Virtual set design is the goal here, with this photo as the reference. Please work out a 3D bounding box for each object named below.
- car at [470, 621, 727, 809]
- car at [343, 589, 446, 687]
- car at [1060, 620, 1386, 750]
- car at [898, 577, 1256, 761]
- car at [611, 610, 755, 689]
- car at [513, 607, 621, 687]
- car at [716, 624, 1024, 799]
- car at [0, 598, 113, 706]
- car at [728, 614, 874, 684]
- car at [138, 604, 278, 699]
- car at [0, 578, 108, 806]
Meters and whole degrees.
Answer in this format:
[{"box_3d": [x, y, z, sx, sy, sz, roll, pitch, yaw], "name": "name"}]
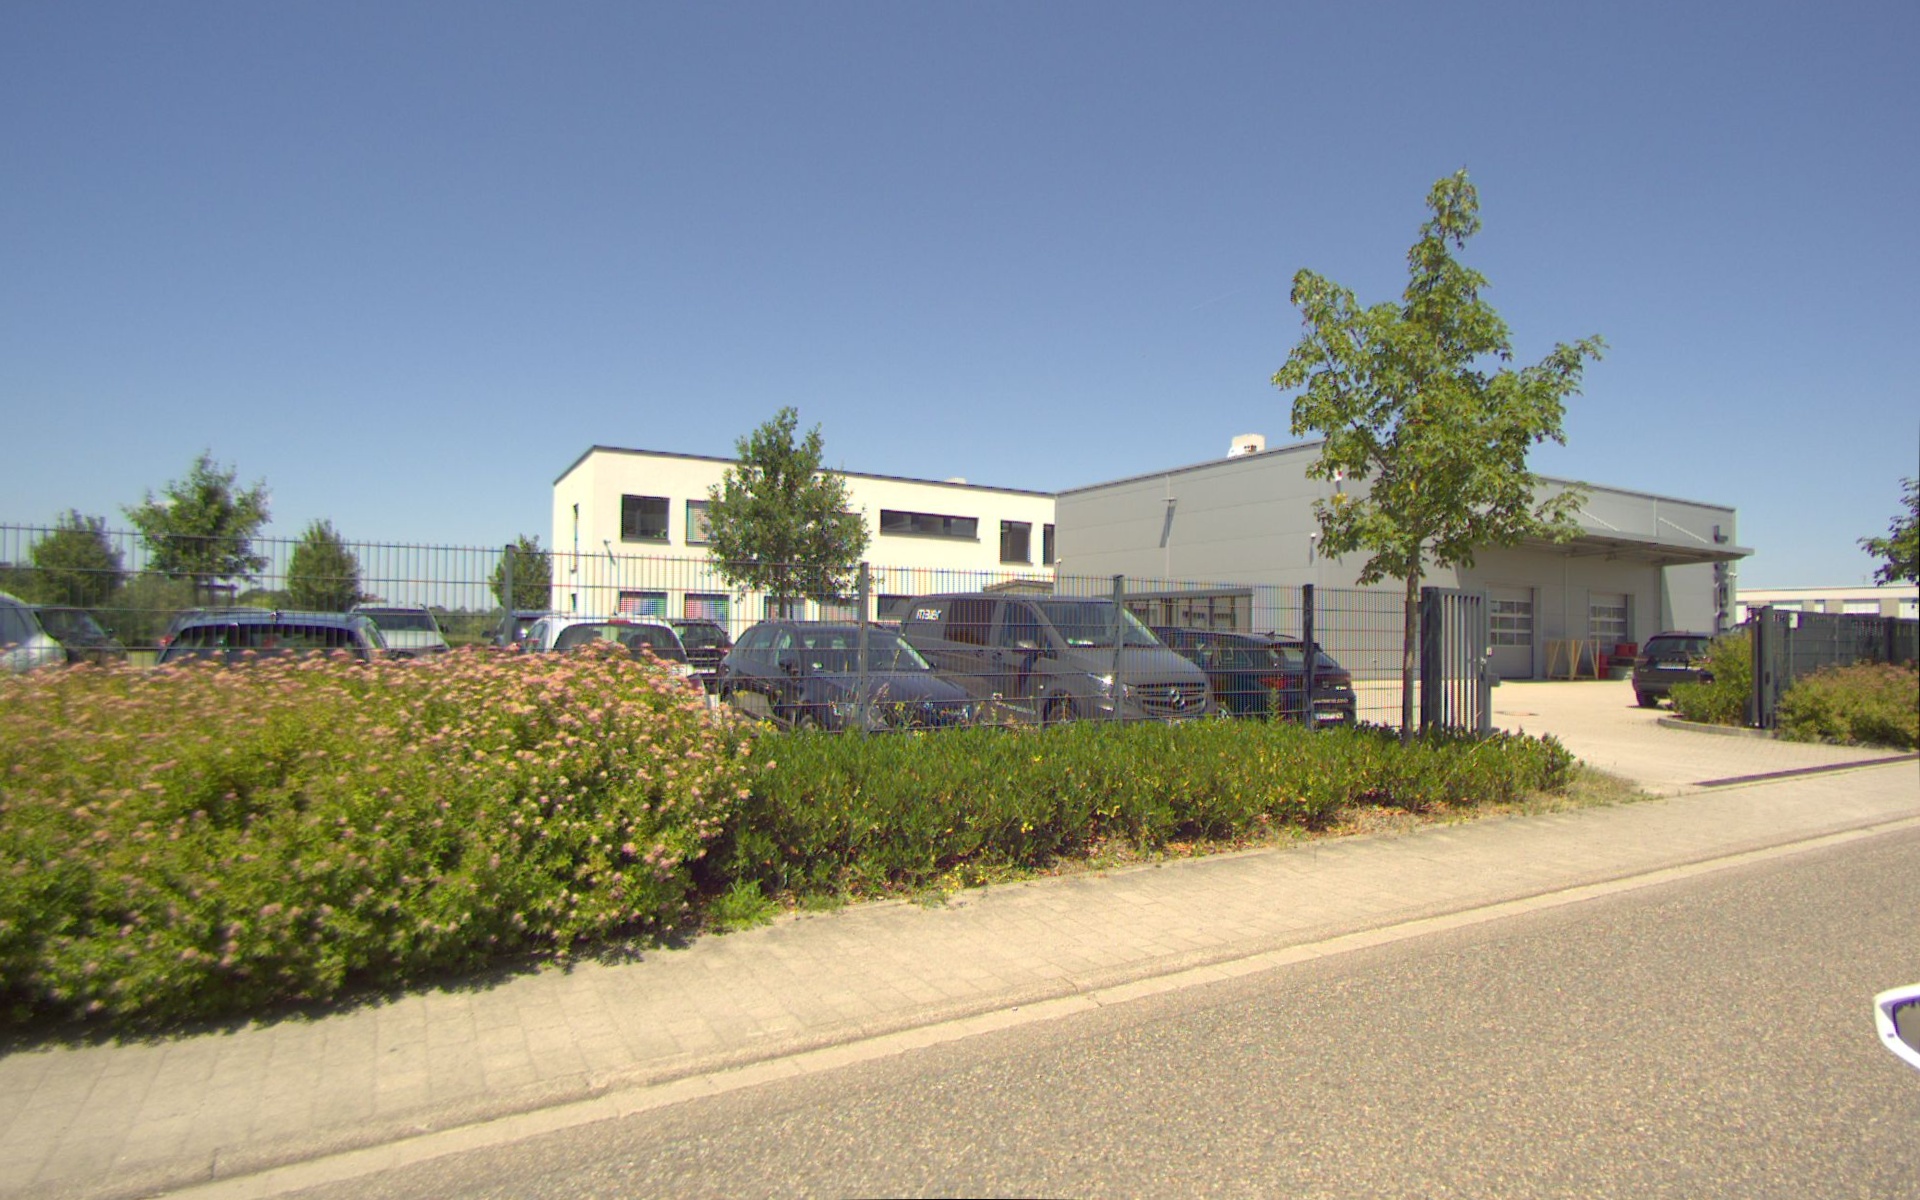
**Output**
[{"box_3d": [-3.796, 1.001, 10.207, 1.882, 1.518, 3.354, 2, -1, -30], "name": "car"}, {"box_3d": [-10.275, 0.662, 18.269, 1.460, 1.605, 3.455, 2, -1, -30], "name": "car"}, {"box_3d": [3.431, 1.047, 13.937, 1.941, 1.465, 4.284, 2, -1, -30], "name": "car"}, {"box_3d": [1.206, 0.752, 12.904, 1.941, 1.875, 5.035, 2, -1, -30], "name": "car"}, {"box_3d": [-5.741, 0.947, 20.505, 1.859, 1.433, 4.087, 2, -1, -30], "name": "car"}, {"box_3d": [-7.826, 0.885, 19.857, 1.460, 1.433, 3.455, 2, -1, -30], "name": "car"}, {"box_3d": [-1.220, 1.075, 11.331, 1.882, 1.518, 4.173, 2, -1, -30], "name": "car"}, {"box_3d": [-14.758, 0.741, 15.560, 1.841, 1.505, 3.967, 2, -1, -31], "name": "car"}, {"box_3d": [-3.617, 1.030, 22.298, 1.859, 1.368, 4.087, 2, -1, -30], "name": "car"}, {"box_3d": [-12.668, 0.817, 17.102, 1.460, 1.433, 3.455, 2, -1, -30], "name": "car"}, {"box_3d": [-8.005, 0.647, 7.168, 1.976, 1.650, 4.712, 2, -2, -29], "name": "car"}]
